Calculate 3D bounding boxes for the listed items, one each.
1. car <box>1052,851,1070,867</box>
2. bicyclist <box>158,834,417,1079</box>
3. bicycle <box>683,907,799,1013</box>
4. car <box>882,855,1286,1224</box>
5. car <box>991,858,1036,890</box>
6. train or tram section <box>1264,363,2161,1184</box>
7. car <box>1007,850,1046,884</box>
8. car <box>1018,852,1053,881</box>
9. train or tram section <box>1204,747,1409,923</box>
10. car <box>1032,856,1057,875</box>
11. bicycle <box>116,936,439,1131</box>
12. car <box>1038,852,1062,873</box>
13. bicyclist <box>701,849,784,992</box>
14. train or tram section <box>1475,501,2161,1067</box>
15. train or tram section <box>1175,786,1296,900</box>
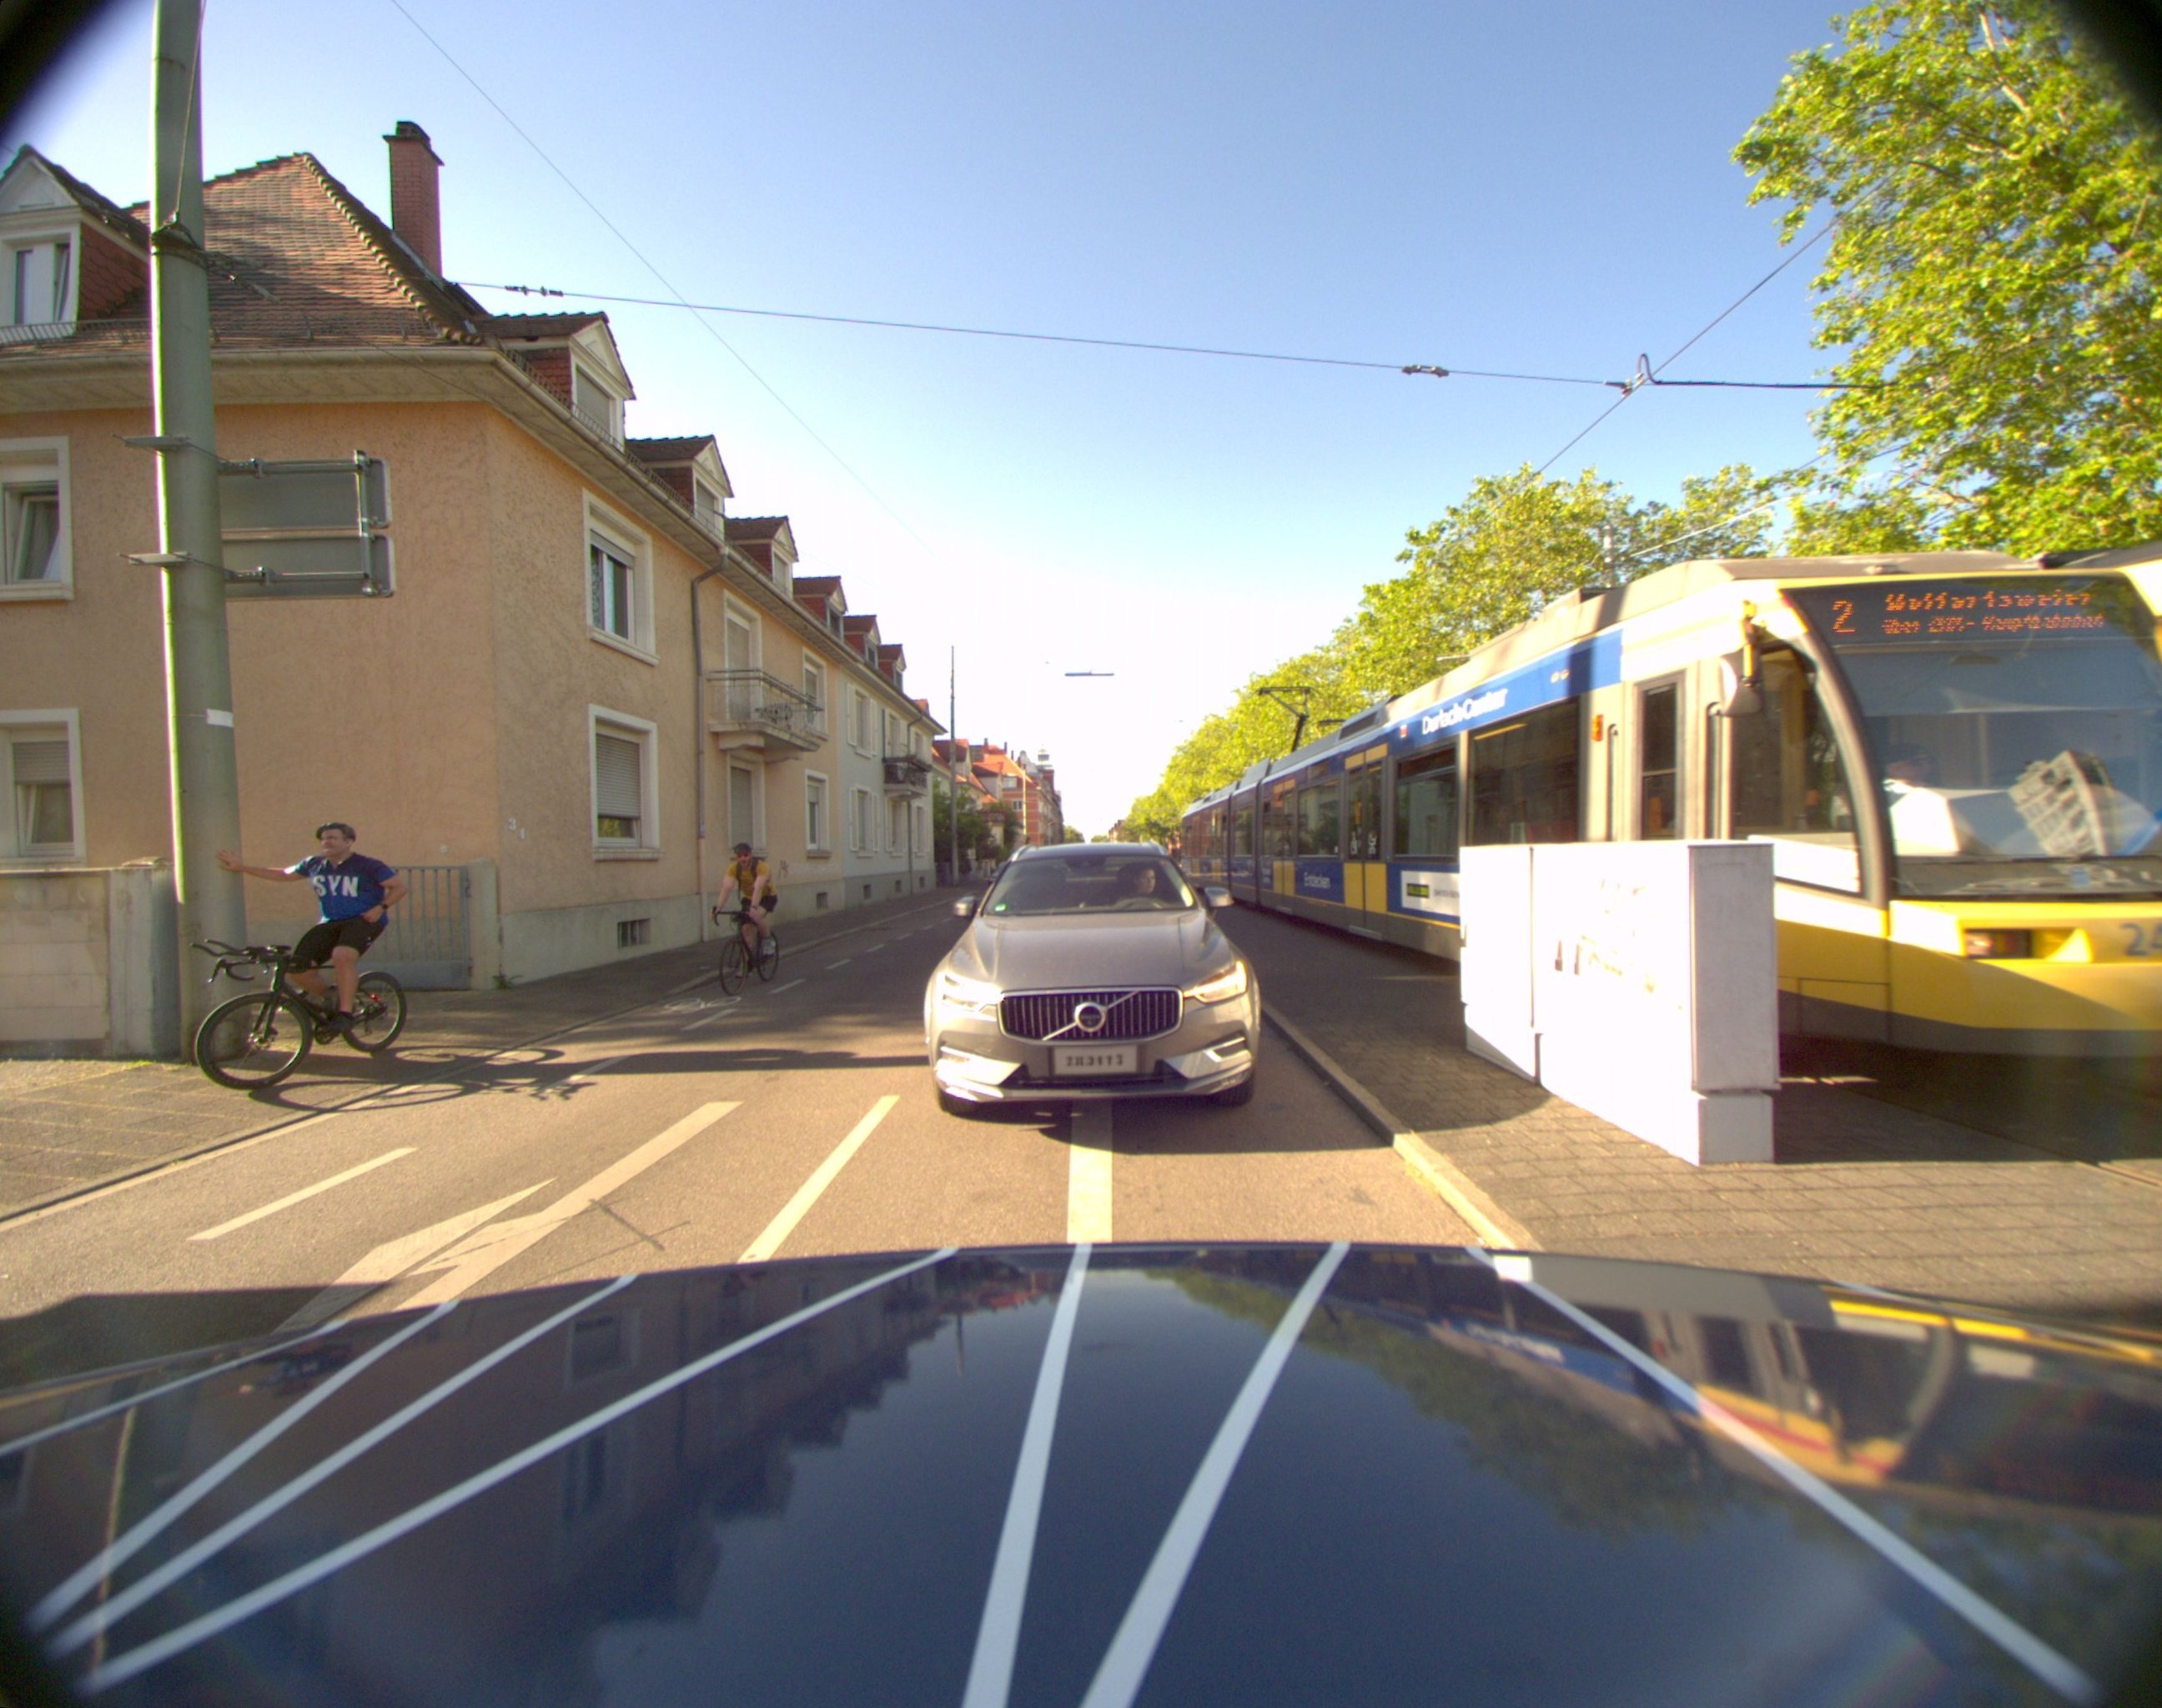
[{"bbox_3d":[-2.249,0.550,85.479,1.999,1.641,4.658,-1,0,-1],"label":"car"},{"bbox_3d":[-6.178,0.752,5.982,1.071,1.728,0.853,4,1,1],"label":"bicyclist"},{"bbox_3d":[-4.251,1.286,9.663,0.611,1.081,1.809,-1,1,1],"label":"bicycle"},{"bbox_3d":[-0.004,0.885,5.783,1.892,1.695,4.318,-1,0,-1],"label":"car"},{"bbox_3d":[-3.235,0.944,36.971,1.847,1.412,3.999,-1,0,-1],"label":"car"},{"bbox_3d":[4.973,-0.353,9.246,2.777,3.479,12.030,-1,0,1],"label":"train or tram section"},{"bbox_3d":[-2.970,0.685,42.132,1.847,1.742,4.144,-1,0,0],"label":"car"},{"bbox_3d":[-2.774,0.728,46.832,1.847,1.681,4.000,-1,0,0],"label":"car"},{"bbox_3d":[5.218,-0.385,19.516,2.821,3.479,8.462,-1,0,1],"label":"train or tram section"},{"bbox_3d":[-2.884,0.859,60.401,1.808,1.402,3.999,-1,0,-1],"label":"car"},{"bbox_3d":[-5.991,1.271,5.837,0.594,1.045,1.719,4,1,1],"label":"bicycle"},{"bbox_3d":[-2.681,0.694,65.764,1.847,1.681,4.000,-1,0,0],"label":"car"},{"bbox_3d":[-4.277,0.803,9.665,0.582,1.712,0.955,-1,1,1],"label":"bicyclist"},{"bbox_3d":[8.027,-0.495,7.512,2.862,3.456,10.181,-2,1,0],"label":"train or tram section"},{"bbox_3d":[5.323,-0.345,27.699,2.821,3.479,7.962,-1,0,1],"label":"train or tram section"}]
